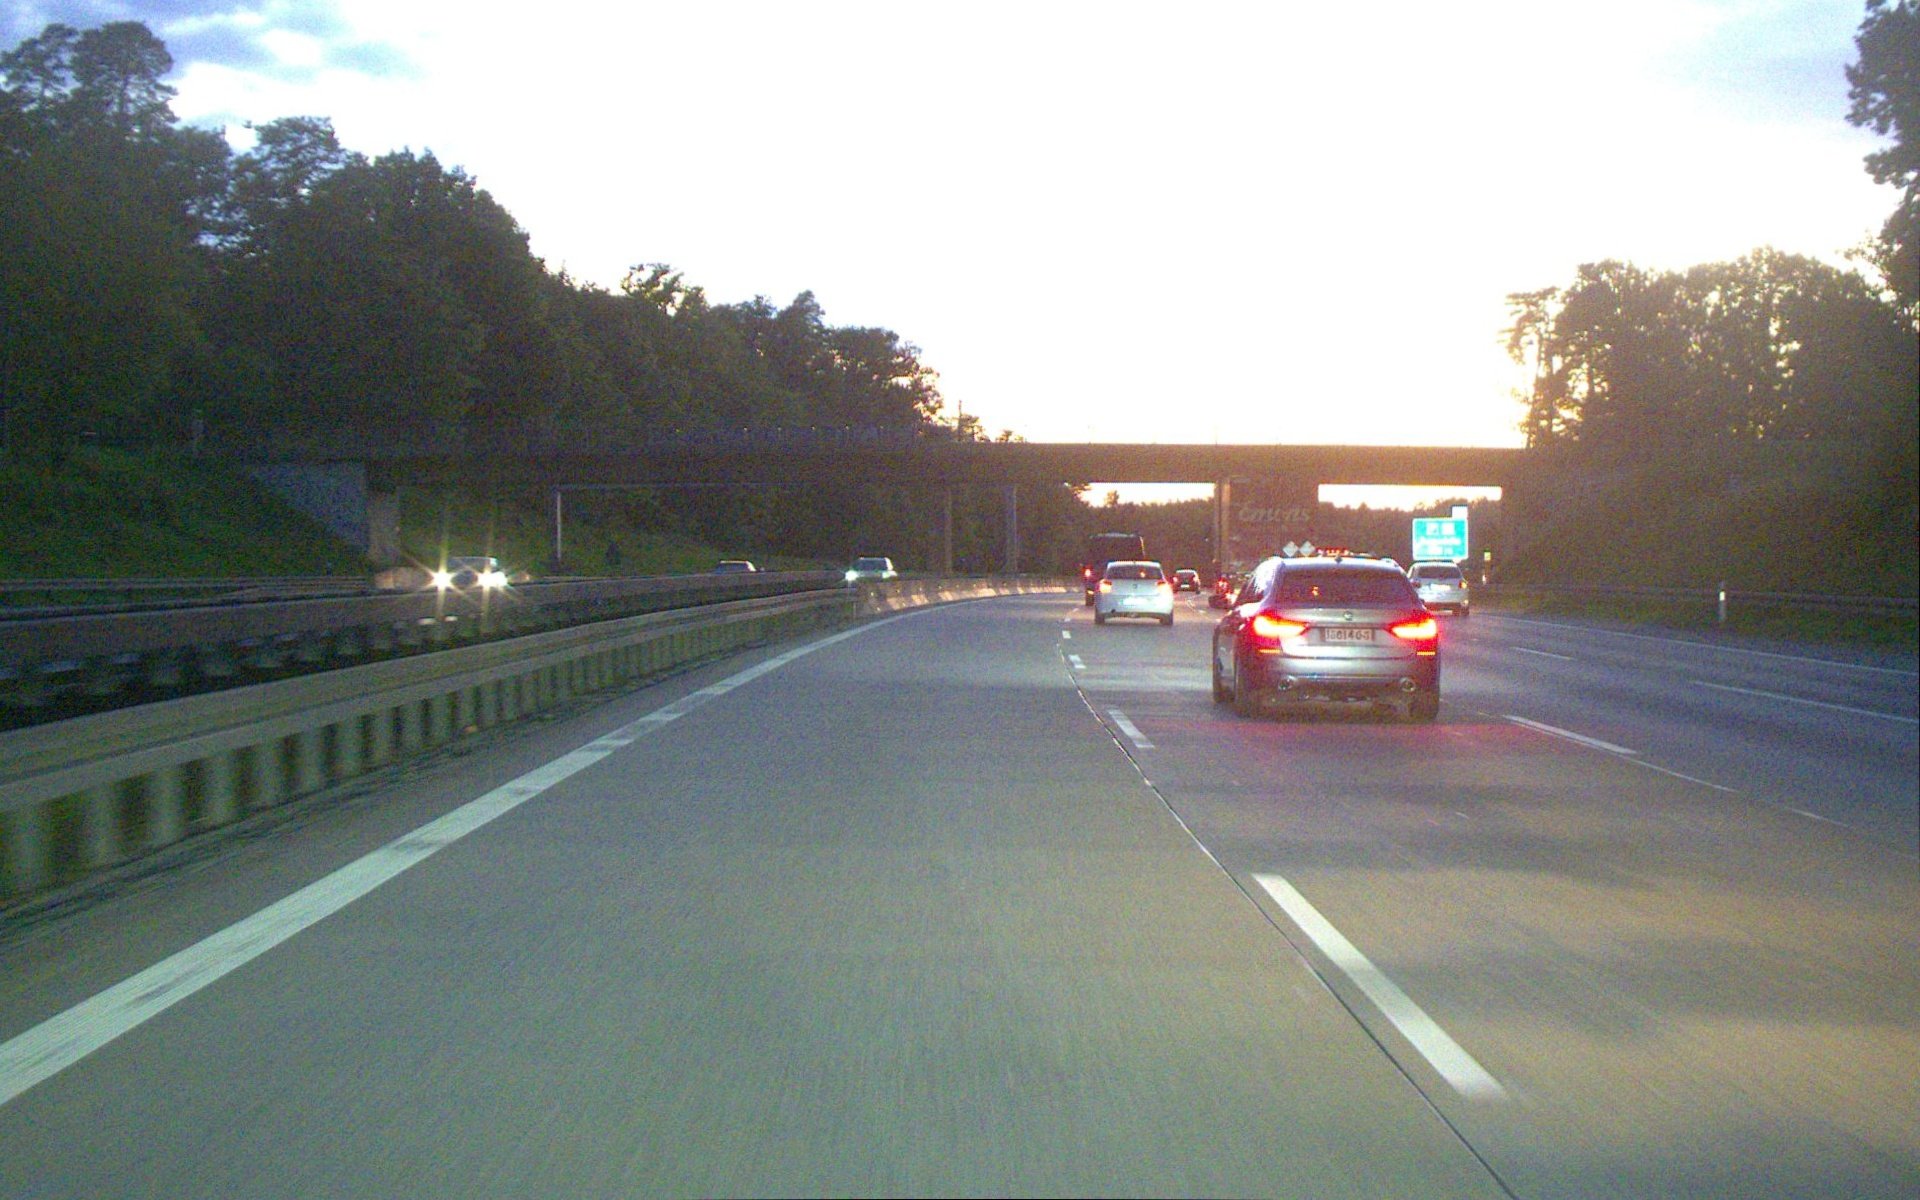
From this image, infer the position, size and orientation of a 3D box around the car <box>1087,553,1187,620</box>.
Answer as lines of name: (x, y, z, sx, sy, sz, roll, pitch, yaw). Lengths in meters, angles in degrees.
car: (4.011, -0.321, 78.504, 1.859, 1.437, 3.721, 0, 1, -4)

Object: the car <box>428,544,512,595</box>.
car: (-14.446, -0.899, 101.557, 1.843, 1.450, 3.602, 1, 1, 2)

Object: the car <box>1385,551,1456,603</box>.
car: (13.232, -0.648, 98.866, 1.859, 1.437, 4.110, 0, 0, 5)

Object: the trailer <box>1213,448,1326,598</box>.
trailer: (9.145, -2.183, 102.577, 2.907, 4.087, 10.356, 1, -1, 3)

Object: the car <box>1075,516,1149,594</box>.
car: (5.080, -1.465, 114.038, 2.166, 2.411, 5.562, 1, -1, 5)

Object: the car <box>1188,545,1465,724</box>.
car: (3.415, 0.265, 33.029, 1.909, 1.532, 5.232, 0, 1, -2)

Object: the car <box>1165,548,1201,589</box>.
car: (14.003, -1.948, 215.974, 2.166, 2.411, 5.563, 1, -1, 3)

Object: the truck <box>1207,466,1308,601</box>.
truck: (9.719, -2.080, 113.144, 2.885, 4.087, 10.830, 1, -1, 3)

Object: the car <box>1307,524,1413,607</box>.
car: (8.251, -0.701, 71.203, 1.903, 1.638, 5.051, 0, 0, 4)
